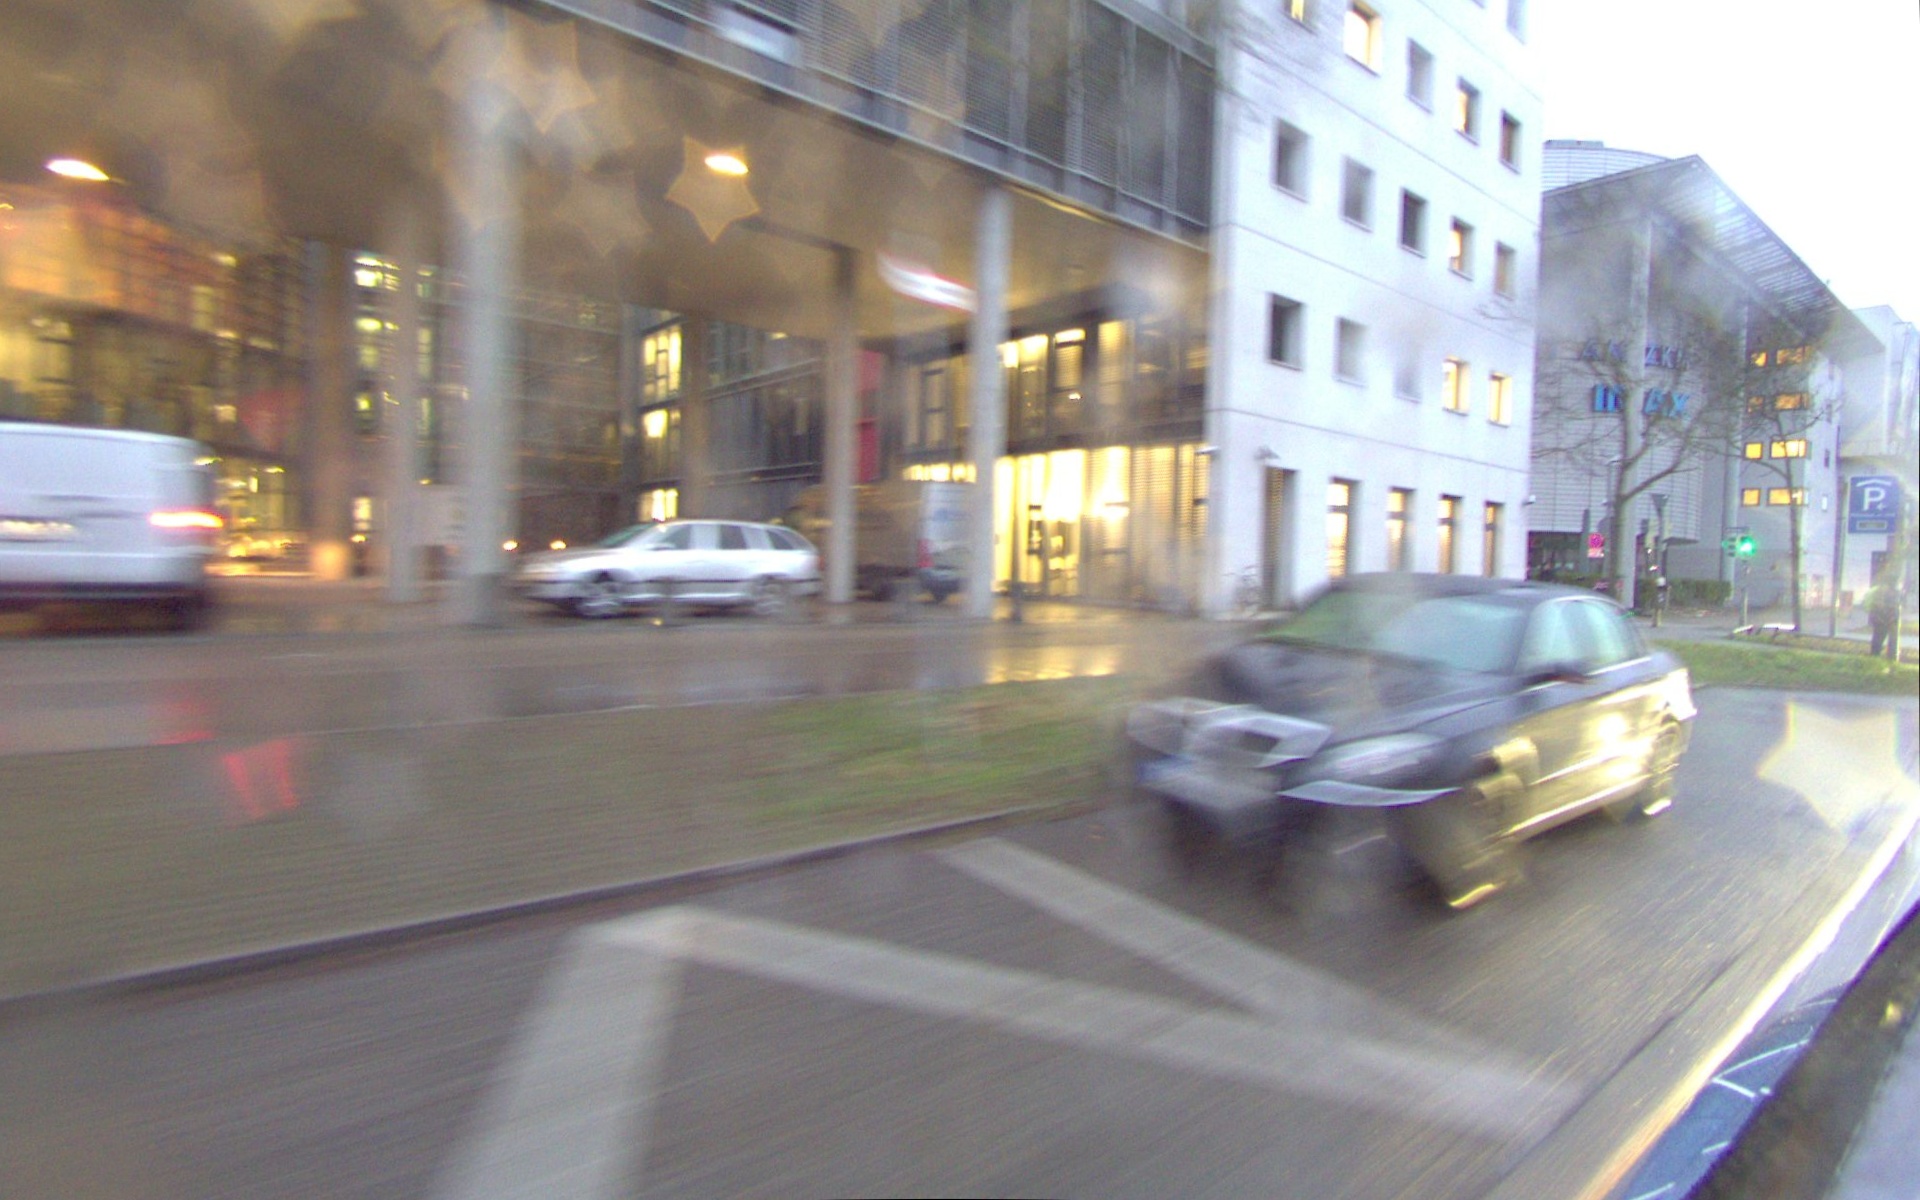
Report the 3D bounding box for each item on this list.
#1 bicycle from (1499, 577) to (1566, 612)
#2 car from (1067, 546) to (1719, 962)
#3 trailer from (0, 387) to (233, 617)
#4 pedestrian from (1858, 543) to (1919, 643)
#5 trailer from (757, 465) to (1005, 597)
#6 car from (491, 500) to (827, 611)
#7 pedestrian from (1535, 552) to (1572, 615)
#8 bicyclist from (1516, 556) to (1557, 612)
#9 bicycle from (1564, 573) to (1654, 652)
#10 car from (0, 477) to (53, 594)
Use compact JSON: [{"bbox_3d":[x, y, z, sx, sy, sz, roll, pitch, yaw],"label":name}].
[{"bbox_3d":[19.309,-0.210,34.164,0.836,1.105,1.872,3,0,-17],"label":"bicycle"},{"bbox_3d":[2.617,0.481,5.583,4.155,1.457,1.600,-2,4,-41],"label":"car"},{"bbox_3d":[-9.271,-0.920,10.948,2.089,1.935,5.086,2,1,-34],"label":"trailer"},{"bbox_3d":[18.030,-0.152,19.564,0.687,1.829,0.772,-2,7,-43],"label":"pedestrian"},{"bbox_3d":[-1.995,-1.515,23.126,2.173,2.613,6.265,0,3,-43],"label":"trailer"},{"bbox_3d":[-4.251,-0.623,14.793,4.454,1.388,1.634,-2,2,-43],"label":"car"},{"bbox_3d":[16.828,-0.477,28.701,0.691,1.757,0.738,-1,1,-43],"label":"pedestrian"},{"bbox_3d":[19.356,-0.538,33.991,0.822,1.845,0.733,3,0,-18],"label":"bicyclist"},{"bbox_3d":[10.207,0.166,15.888,2.128,1.128,0.552,-2,4,-41],"label":"bicycle"},{"bbox_3d":[-13.856,-0.914,13.767,1.625,1.536,4.004,1,3,-33],"label":"car"}]
